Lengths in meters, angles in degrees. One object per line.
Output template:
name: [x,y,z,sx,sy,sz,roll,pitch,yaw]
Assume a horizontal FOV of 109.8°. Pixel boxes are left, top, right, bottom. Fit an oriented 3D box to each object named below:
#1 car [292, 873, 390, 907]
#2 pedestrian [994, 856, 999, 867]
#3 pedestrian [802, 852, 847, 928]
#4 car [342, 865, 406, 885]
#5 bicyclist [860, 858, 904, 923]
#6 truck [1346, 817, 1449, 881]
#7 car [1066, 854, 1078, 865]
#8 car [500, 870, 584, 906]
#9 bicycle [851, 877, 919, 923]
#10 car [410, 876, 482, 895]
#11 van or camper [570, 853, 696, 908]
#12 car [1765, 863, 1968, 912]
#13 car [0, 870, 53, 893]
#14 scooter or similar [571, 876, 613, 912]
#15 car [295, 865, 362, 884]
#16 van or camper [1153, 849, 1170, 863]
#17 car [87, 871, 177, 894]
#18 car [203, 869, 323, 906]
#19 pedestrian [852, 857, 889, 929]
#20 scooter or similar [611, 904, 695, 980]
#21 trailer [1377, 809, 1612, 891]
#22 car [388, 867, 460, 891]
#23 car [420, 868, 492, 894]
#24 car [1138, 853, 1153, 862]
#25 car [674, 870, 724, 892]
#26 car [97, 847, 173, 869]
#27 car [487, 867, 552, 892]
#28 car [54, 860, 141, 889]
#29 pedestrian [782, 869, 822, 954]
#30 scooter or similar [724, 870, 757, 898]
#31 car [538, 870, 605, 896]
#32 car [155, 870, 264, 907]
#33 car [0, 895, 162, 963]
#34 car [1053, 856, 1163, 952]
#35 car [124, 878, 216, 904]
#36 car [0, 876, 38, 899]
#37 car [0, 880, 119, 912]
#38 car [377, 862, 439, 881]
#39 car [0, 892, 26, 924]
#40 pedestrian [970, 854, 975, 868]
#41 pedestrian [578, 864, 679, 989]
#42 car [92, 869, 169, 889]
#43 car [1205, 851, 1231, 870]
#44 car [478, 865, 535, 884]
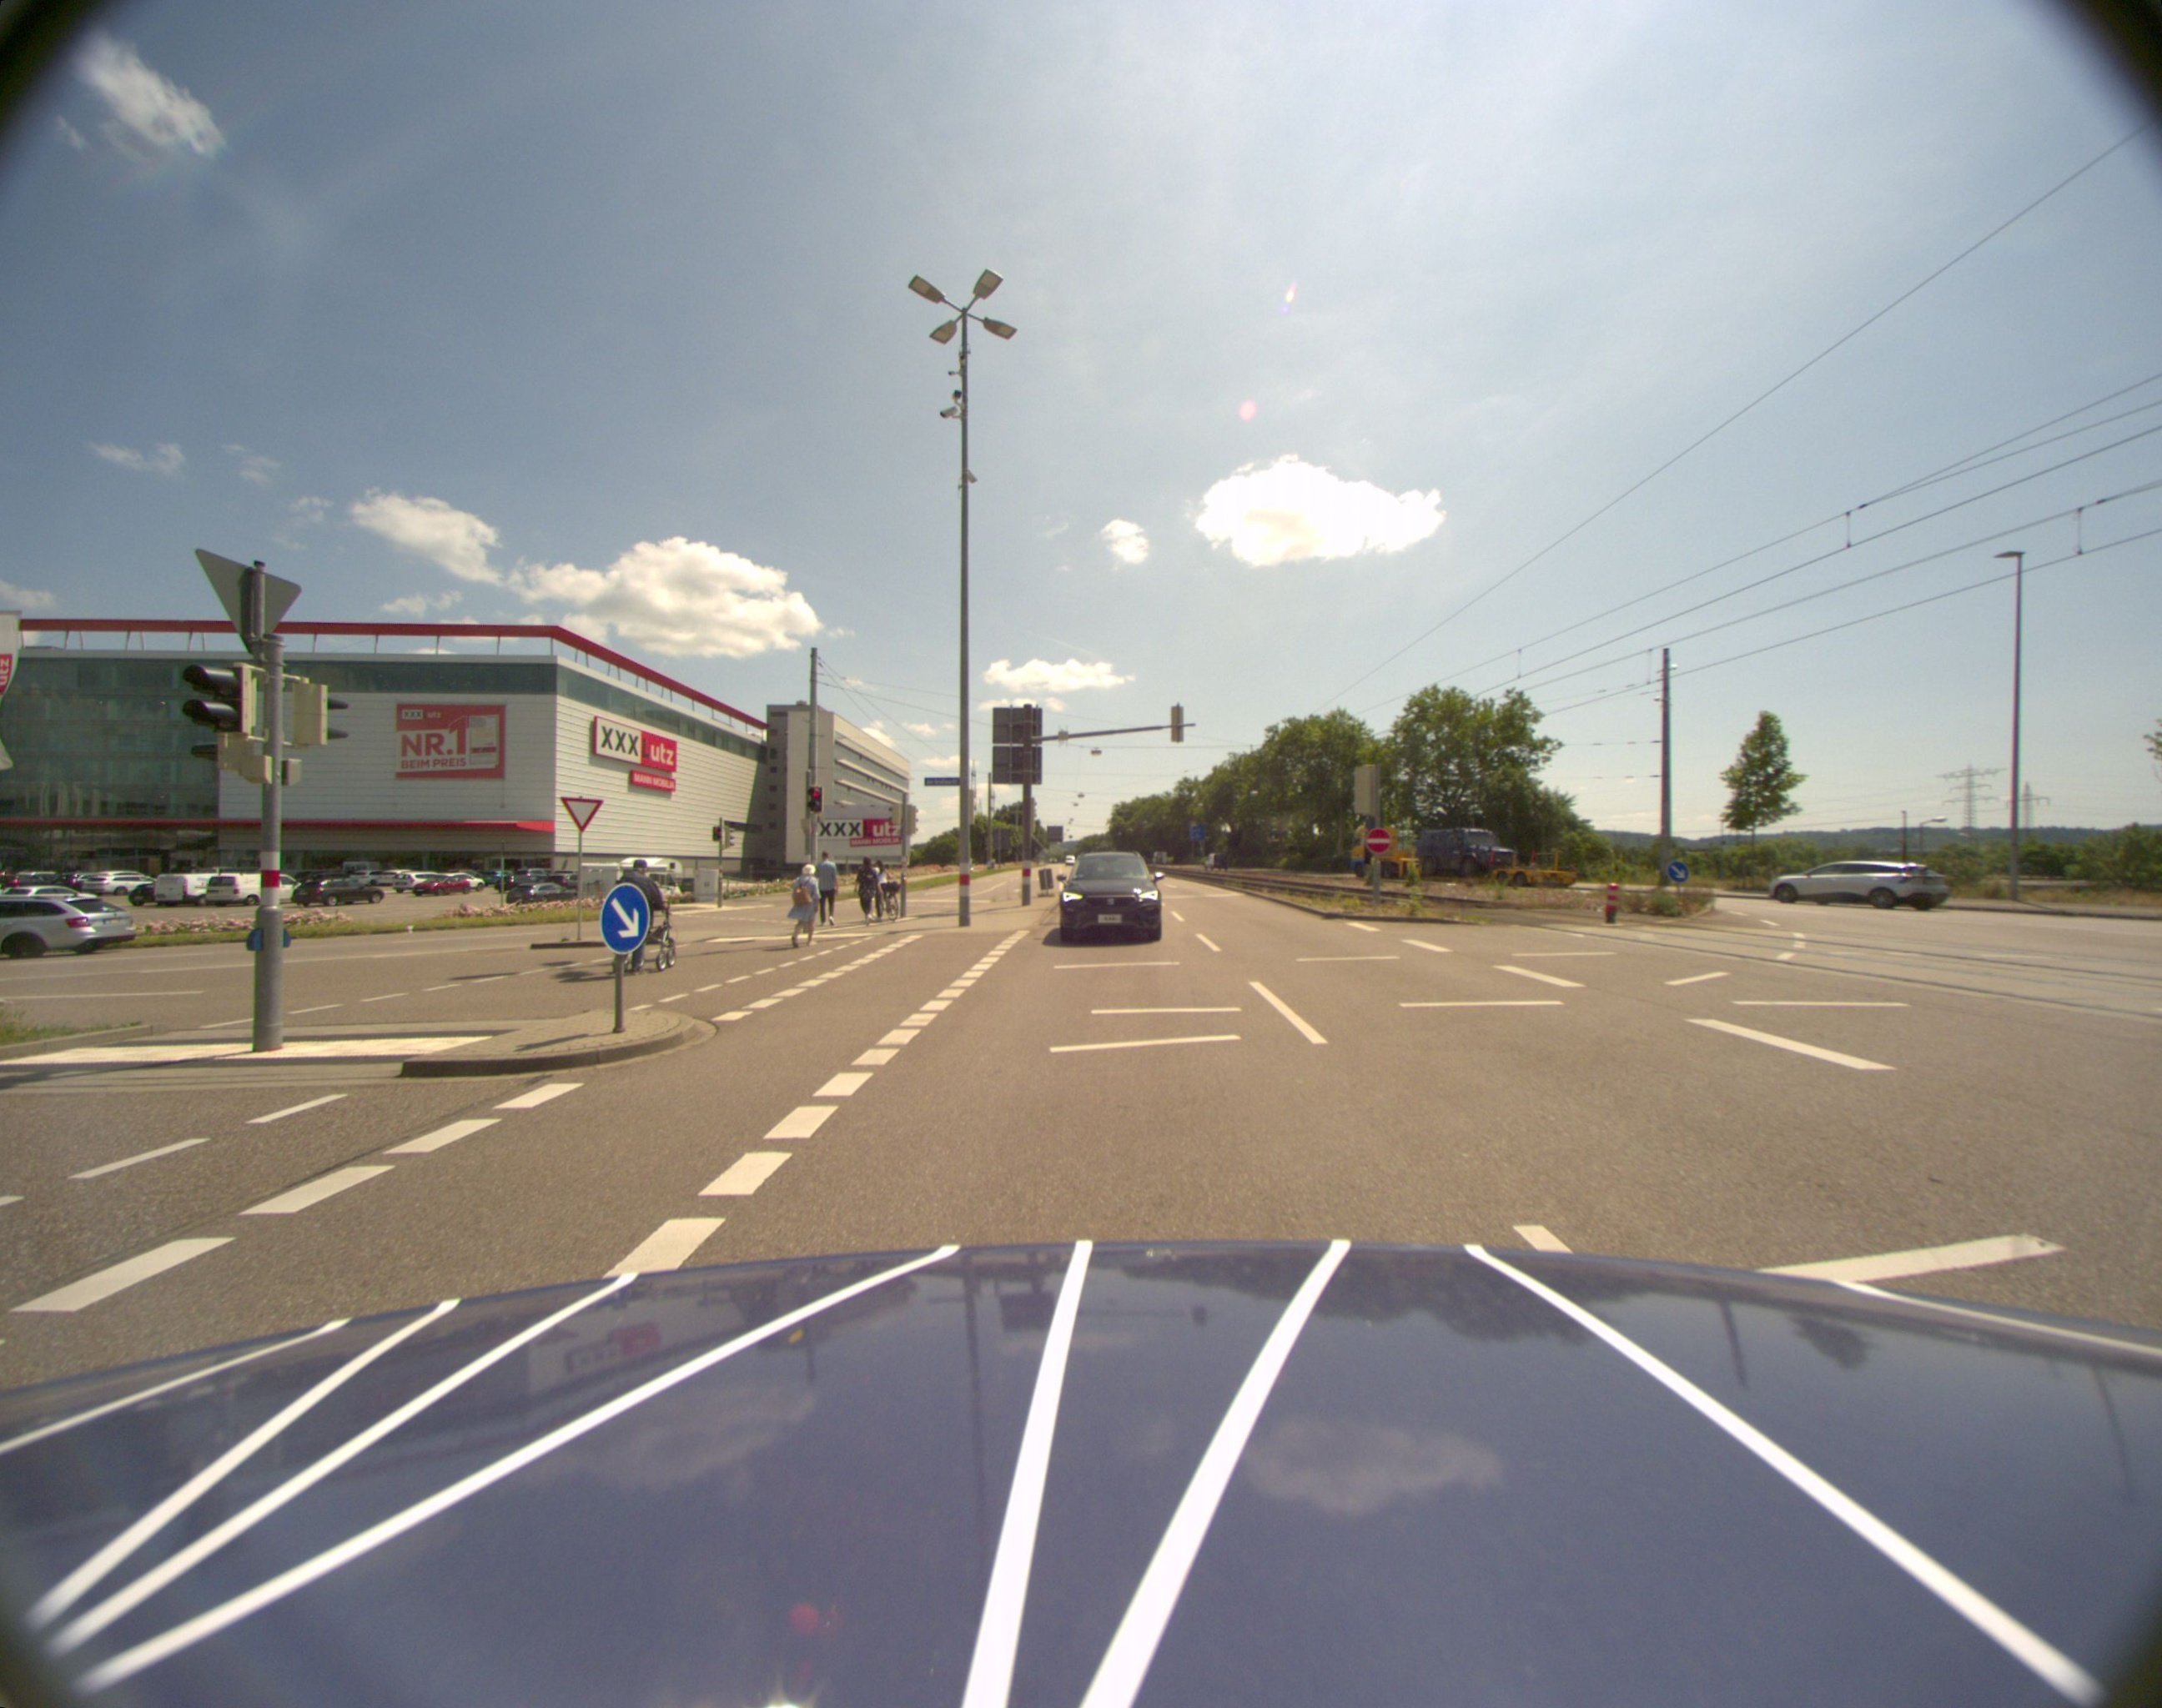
car: [-45.926,2.185,47.312,1.590,1.900,4.488,-1,0,1]
pedestrian: [-12.601,1.148,113.311,0.599,1.645,0.634,-1,0,-2]
pedestrian: [-6.469,0.895,19.186,0.805,1.854,0.798,-1,1,2]
car: [-67.918,1.983,73.079,1.999,1.682,4.519,-1,0,-2]
bicyclist: [-5.296,0.965,20.243,0.797,1.690,0.818,-1,-1,41]
truck: [21.397,-0.334,51.948,3.136,4.015,7.469,0,0,-9]
car: [-1.535,1.006,130.171,1.819,1.829,4.001,-1,0,3]
car: [-33.695,2.086,47.691,1.998,2.002,4.453,-1,0,2]
bicycle: [-5.273,1.217,20.380,1.873,1.155,0.833,-1,-1,40]
car: [-48.240,2.366,57.841,1.859,1.403,4.257,1,-2,2]
van or camper: [-26.780,1.486,45.943,2.715,2.929,7.614,-2,1,3]
car: [25.782,1.035,25.185,2.000,1.454,4.274,-1,0,-11]
car: [-80.792,2.088,56.944,1.998,1.641,4.000,-1,0,1]
scooter or similar: [-18.507,1.510,28.785,0.479,1.283,1.280,-1,1,17]
car: [-72.238,1.955,73.072,1.999,1.682,4.519,-1,0,-2]
van or camper: [15.396,0.341,145.457,2.000,2.571,5.840,1,0,-7]
car: [-71.076,2.100,57.010,1.693,1.518,3.999,-1,0,-1]
car: [-51.061,2.024,47.613,1.998,2.002,4.965,-2,1,1]
pedestrian: [-5.297,0.963,19.089,0.806,1.749,0.796,-2,1,-18]
scooter or similar: [-6.324,1.284,11.260,0.691,1.025,0.863,-1,0,5]
trailer: [22.727,-0.053,43.893,3.125,3.847,15.472,0,-1,-9]
car: [-53.996,2.018,62.557,1.998,1.724,4.519,-1,0,0]
car: [-50.761,2.151,61.824,1.998,1.883,4.519,-1,0,0]
car: [12.166,0.576,143.906,2.000,1.627,4.263,2,0,-6]
car: [-31.798,2.246,63.438,1.999,1.555,4.518,-1,1,-2]
car: [-91.004,0.320,73.172,1.850,2.002,4.286,-2,1,1]
car: [-46.448,2.047,62.973,1.998,1.883,4.519,-1,0,0]
car: [-73.277,1.488,56.687,1.723,2.002,3.604,-1,0,0]
pedestrian: [-5.093,1.028,13.897,0.591,1.467,0.805,-2,1,-18]
scooter or similar: [-15.659,1.374,34.965,0.479,1.120,1.280,-1,4,27]
car: [-38.768,2.145,57.952,1.998,1.707,4.502,-2,1,0]
car: [-53.496,2.059,46.766,1.998,2.002,3.999,-2,1,0]
car: [-25.131,1.760,17.696,4.463,1.390,1.801,-1,0,-18]
car: [0.551,0.848,14.704,1.819,1.583,4.001,-1,0,3]
car: [-56.177,2.260,46.952,1.693,1.452,3.398,-1,0,-3]
car: [-70.854,2.203,48.914,1.853,1.430,4.001,-1,0,3]
car: [-56.488,2.270,41.939,1.854,1.537,3.998,-1,0,-5]
car: [-65.059,1.633,73.514,1.999,1.682,4.519,-1,0,-2]
car: [-48.511,2.399,32.291,1.853,1.368,3.942,-1,0,0]
pedestrian: [-13.703,0.898,95.590,0.518,1.783,0.634,-1,0,-1]
pedestrian: [-6.385,0.995,10.764,0.784,1.663,0.947,-1,1,5]
car: [-78.262,2.054,62.652,1.693,1.592,3.730,0,-1,-1]
car: [15.317,0.770,84.948,1.999,1.826,4.435,2,-4,-1]
car: [-55.522,1.987,73.581,1.998,1.682,4.519,-1,0,0]
